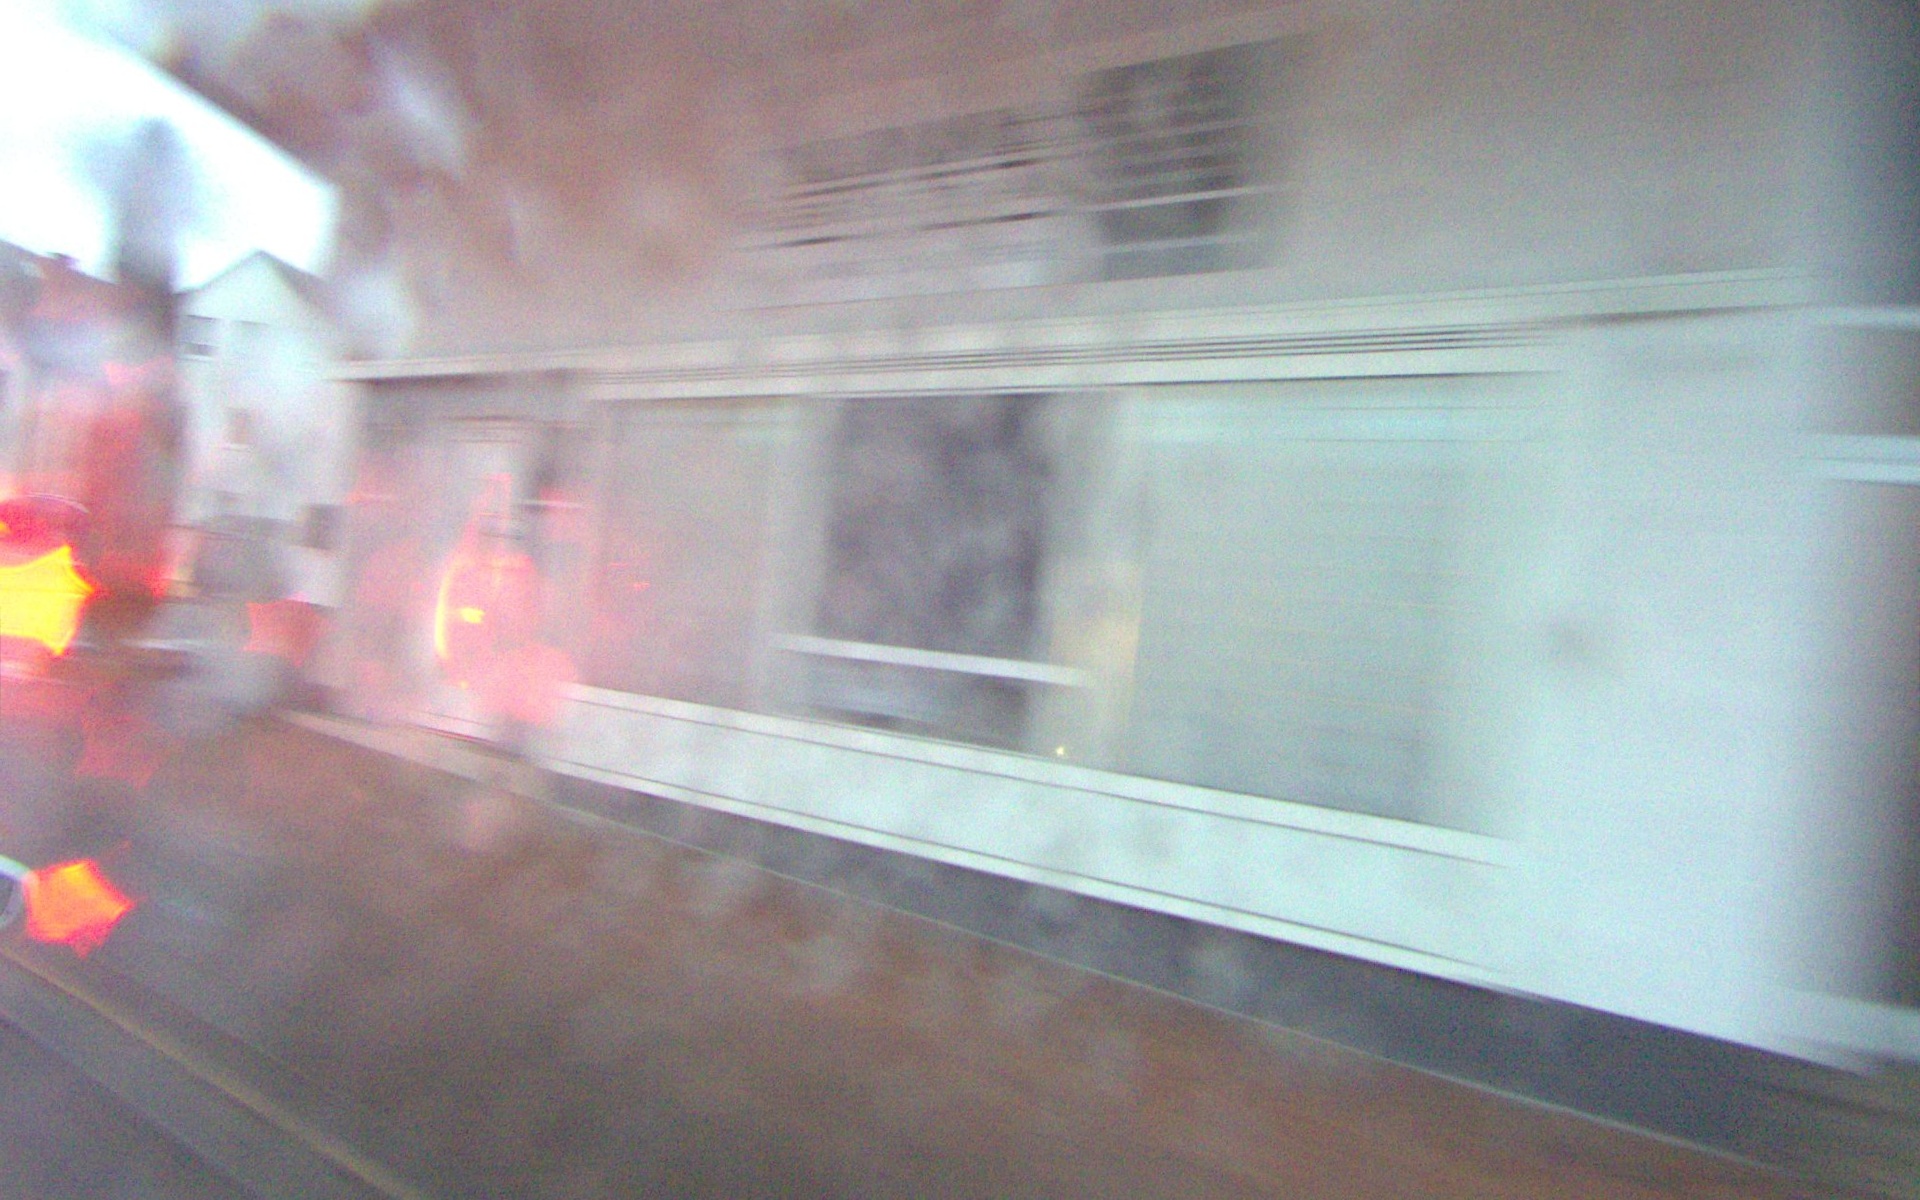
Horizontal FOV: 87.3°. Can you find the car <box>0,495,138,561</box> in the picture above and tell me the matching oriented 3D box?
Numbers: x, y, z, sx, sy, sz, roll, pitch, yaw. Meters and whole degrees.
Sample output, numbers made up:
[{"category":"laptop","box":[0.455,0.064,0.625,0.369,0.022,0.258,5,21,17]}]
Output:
[{"category":"car","box":[-28.891,-2.326,31.977,3.926,1.586,1.814,7,1,0]}]
